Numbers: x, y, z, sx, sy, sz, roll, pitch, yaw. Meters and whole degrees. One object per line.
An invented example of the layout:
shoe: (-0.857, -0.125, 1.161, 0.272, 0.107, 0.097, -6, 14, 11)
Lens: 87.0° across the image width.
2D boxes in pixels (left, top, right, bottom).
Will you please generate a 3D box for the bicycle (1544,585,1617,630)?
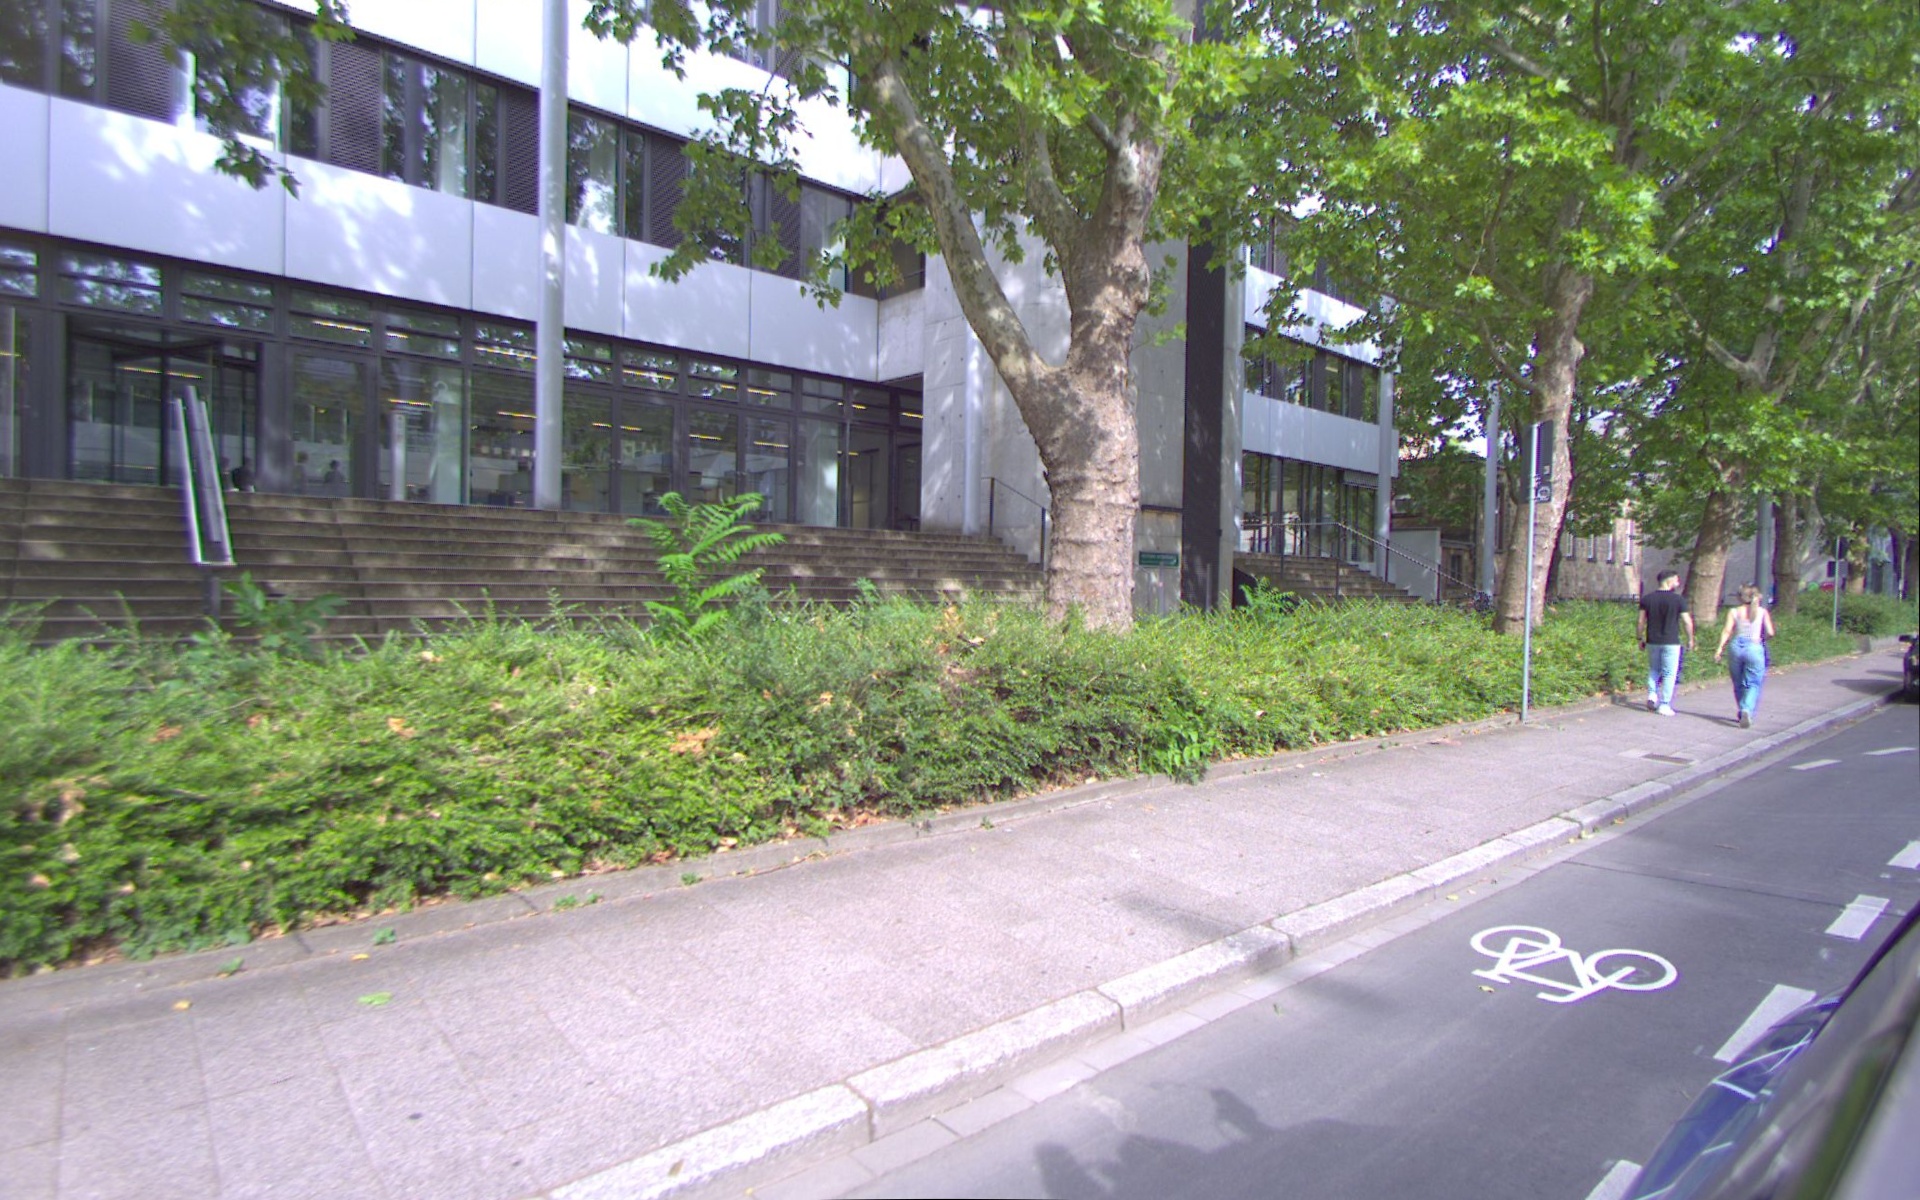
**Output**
bicycle: (17.223, 0.194, 28.138, 1.686, 1.131, 0.616, 3, 2, 31)

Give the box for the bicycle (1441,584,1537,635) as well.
bicycle: (12.837, 0.218, 24.611, 0.661, 1.131, 1.919, 0, 2, -40)

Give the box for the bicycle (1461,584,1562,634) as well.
bicycle: (13.843, 0.208, 25.455, 0.661, 1.131, 2.084, 0, 2, -40)

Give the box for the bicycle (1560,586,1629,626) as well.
bicycle: (19.503, 0.170, 31.135, 1.674, 1.131, 0.595, 4, 2, 44)

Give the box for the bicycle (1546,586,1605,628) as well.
bicycle: (17.464, 0.189, 28.736, 1.374, 1.131, 0.505, 3, 2, 35)

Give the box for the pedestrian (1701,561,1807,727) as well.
pedestrian: (9.184, 0.469, 11.704, 1.016, 1.805, 0.712, 0, 3, -42)

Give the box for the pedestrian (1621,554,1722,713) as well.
pedestrian: (8.683, 0.373, 12.347, 1.016, 1.822, 0.716, 0, 3, -42)

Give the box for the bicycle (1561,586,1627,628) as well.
bicycle: (18.343, 0.196, 29.298, 1.539, 1.131, 0.461, 4, 2, 43)

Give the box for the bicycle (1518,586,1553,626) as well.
bicycle: (16.561, 0.165, 29.112, 0.491, 1.131, 1.415, 3, 2, 44)
